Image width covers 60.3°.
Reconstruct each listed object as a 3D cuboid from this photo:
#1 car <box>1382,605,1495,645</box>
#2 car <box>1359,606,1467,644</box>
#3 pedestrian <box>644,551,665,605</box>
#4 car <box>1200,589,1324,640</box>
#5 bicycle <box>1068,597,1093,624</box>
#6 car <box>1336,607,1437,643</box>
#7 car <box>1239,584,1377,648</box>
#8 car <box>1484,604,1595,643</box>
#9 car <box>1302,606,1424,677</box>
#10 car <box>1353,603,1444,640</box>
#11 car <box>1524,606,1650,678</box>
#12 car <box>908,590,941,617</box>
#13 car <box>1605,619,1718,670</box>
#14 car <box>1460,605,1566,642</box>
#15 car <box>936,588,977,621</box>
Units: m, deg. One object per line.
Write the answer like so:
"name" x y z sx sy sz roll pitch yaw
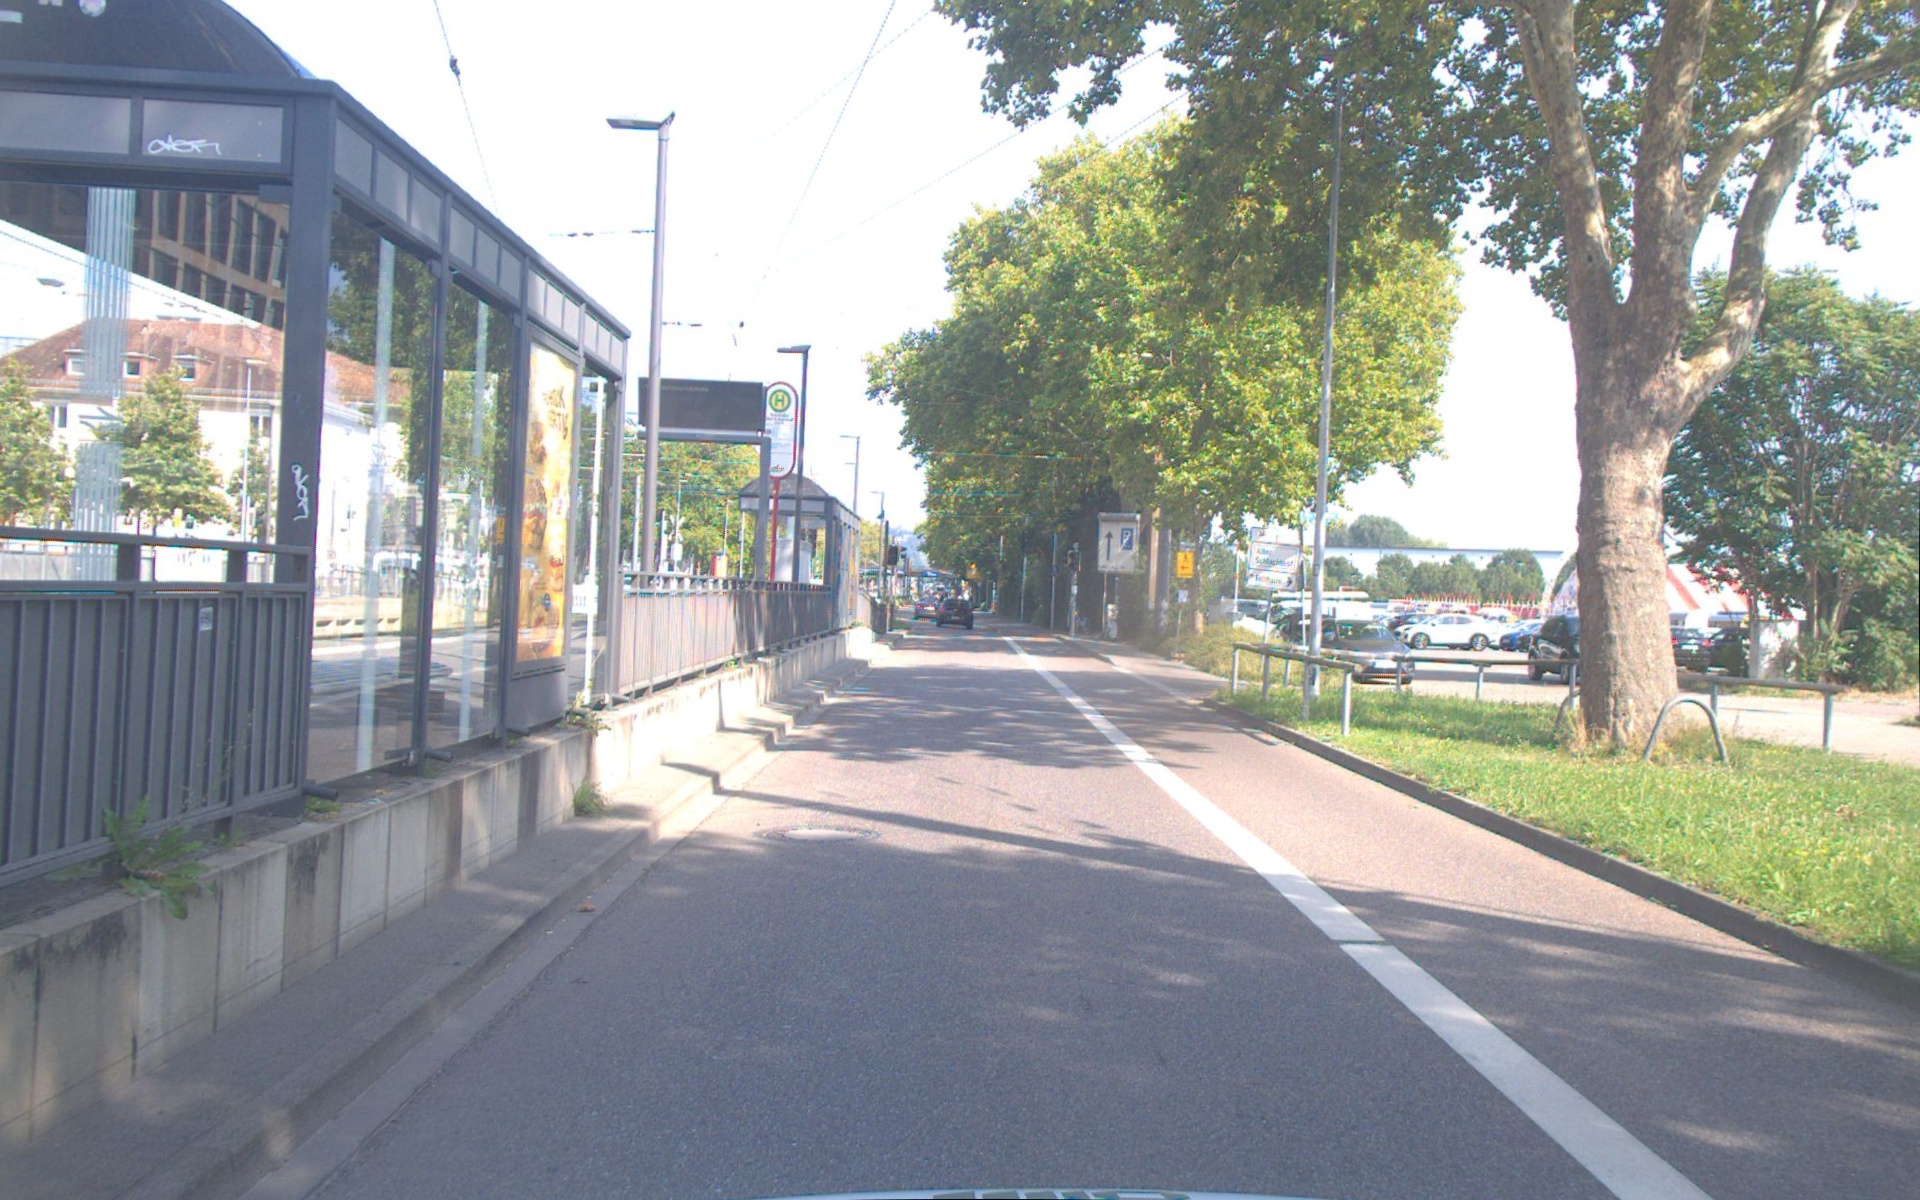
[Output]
"car" 20.583 1.071 71.232 4.257 1.489 1.946 3 0 -3
"car" 20.396 1.116 74.528 4.257 1.489 1.946 3 0 -3
"pedestrian" -10.617 -0.768 57.539 0.694 1.853 0.771 1 -1 -10
"car" 10.552 0.508 58.010 3.907 1.614 1.999 2 0 -2
"bicycle" 4.939 0.429 67.852 0.598 1.039 2.400 3 0 -5
"car" 20.475 1.179 79.426 4.257 1.489 1.946 3 0 -3
"car" 11.011 0.497 52.515 4.018 1.952 1.848 1 0 2
"car" 26.025 1.052 74.314 4.257 1.489 1.946 3 0 -3
"car" 9.416 0.927 38.987 1.693 1.474 4.550 1 0 -1
"car" 23.472 1.142 88.642 4.257 1.742 1.946 3 0 -3
"car" 15.249 0.986 40.411 1.575 1.603 3.796 1 0 -1
"car" -2.164 0.218 99.560 1.933 1.564 3.999 -1 0 -2
"car" 22.454 1.384 53.088 1.777 1.420 4.116 3 0 -1
"car" 25.963 1.097 77.713 4.257 1.489 1.946 3 0 -3
"car" -0.177 0.189 80.166 1.869 1.564 3.999 1 0 -2
